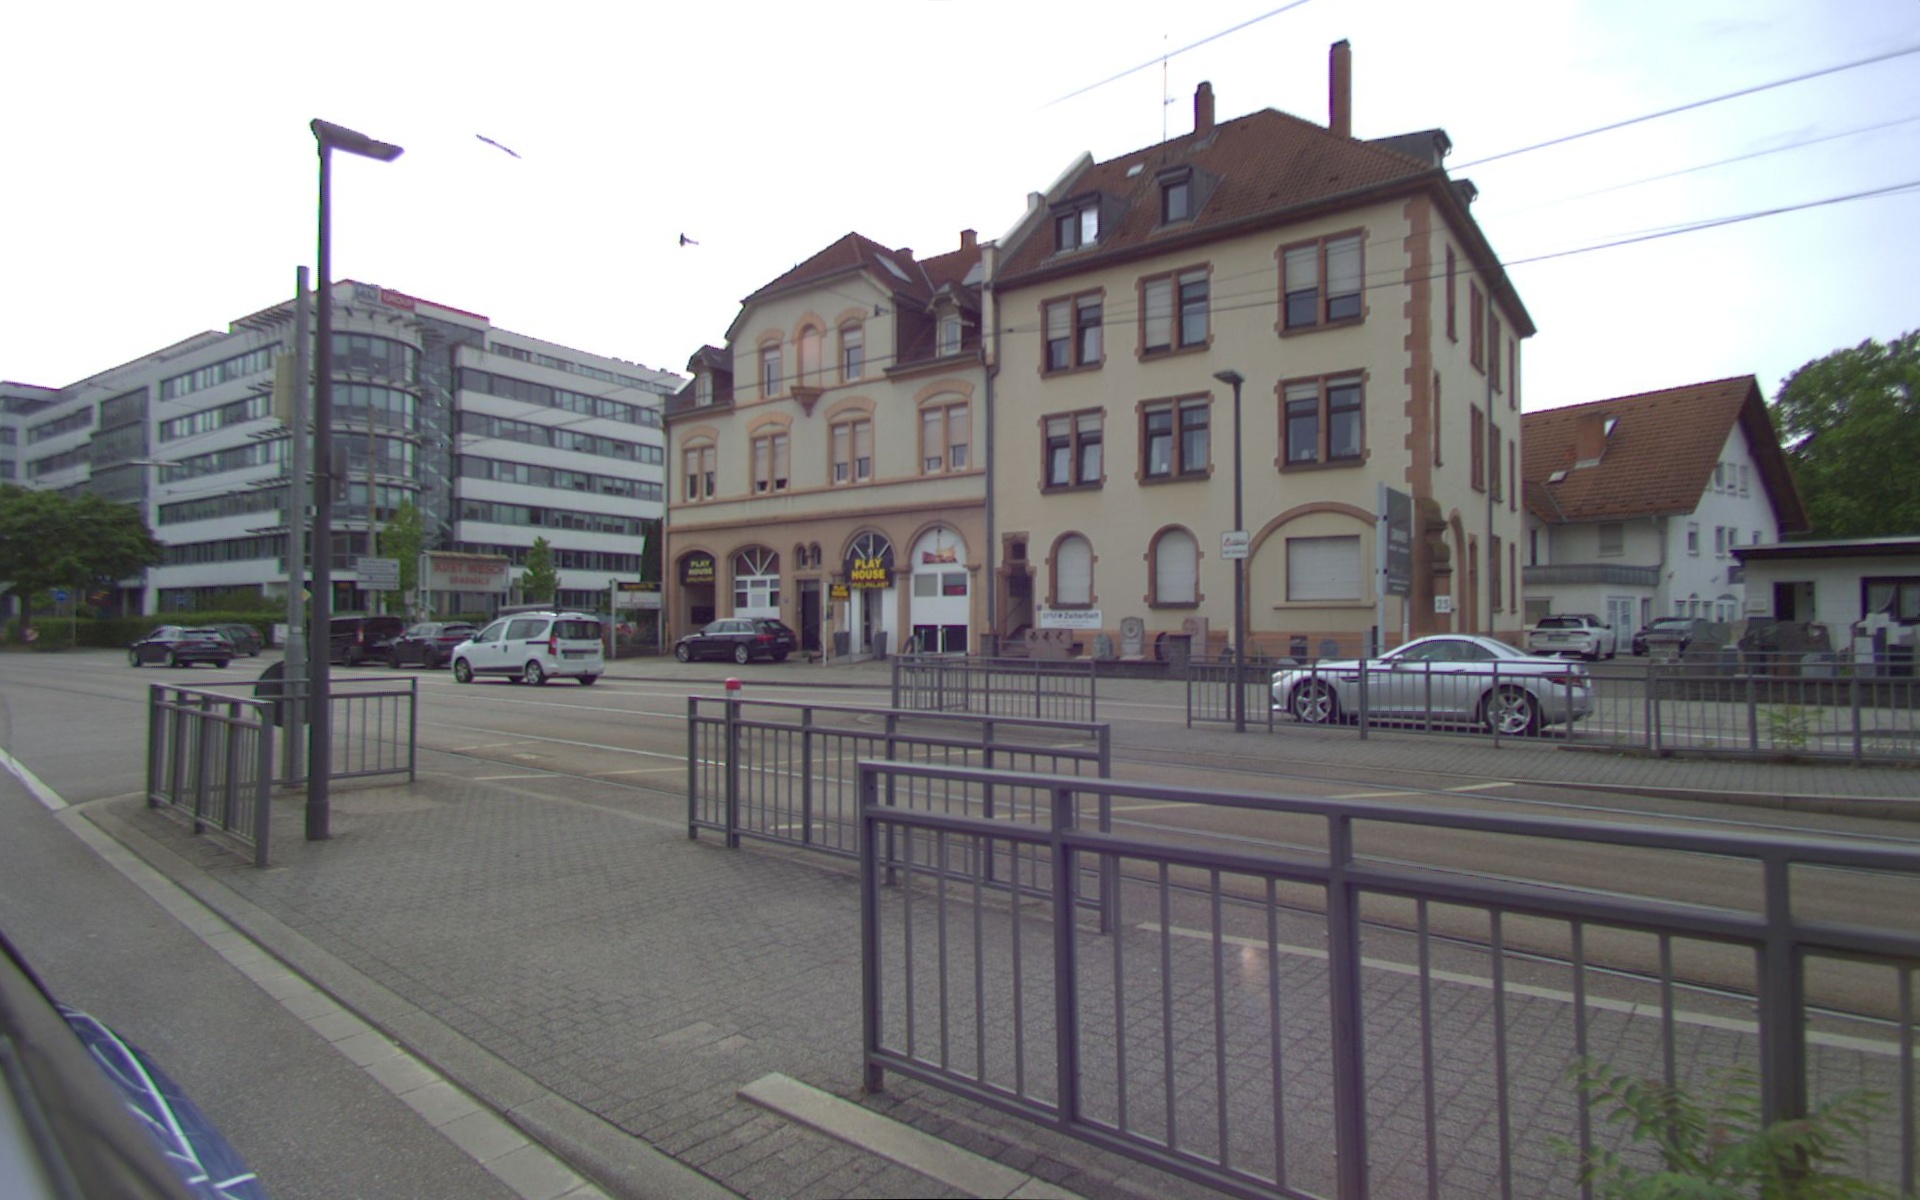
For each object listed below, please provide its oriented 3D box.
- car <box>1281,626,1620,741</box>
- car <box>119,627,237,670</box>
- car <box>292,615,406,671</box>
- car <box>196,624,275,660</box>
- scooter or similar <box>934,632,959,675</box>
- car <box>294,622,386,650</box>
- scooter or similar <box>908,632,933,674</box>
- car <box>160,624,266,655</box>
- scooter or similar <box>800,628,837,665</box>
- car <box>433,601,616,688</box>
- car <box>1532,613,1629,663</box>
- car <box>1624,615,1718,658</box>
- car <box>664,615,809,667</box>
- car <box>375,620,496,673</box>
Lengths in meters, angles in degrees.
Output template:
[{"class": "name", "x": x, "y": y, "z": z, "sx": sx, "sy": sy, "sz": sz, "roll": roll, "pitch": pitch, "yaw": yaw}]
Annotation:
[{"class": "car", "x": 6.498, "y": 1.027, "z": 13.589, "sx": 3.828, "sy": 1.308, "sz": 1.733, "roll": -1, "pitch": -2, "yaw": 38}, {"class": "car", "x": -27.554, "y": 1.682, "z": 35.644, "sx": 4.410, "sy": 1.439, "sz": 1.867, "roll": -1, "pitch": -3, "yaw": 32}, {"class": "car", "x": -24.166, "y": 1.642, "z": 39.983, "sx": 5.173, "sy": 2.029, "sz": 1.969, "roll": -1, "pitch": 0, "yaw": 36}, {"class": "car", "x": -33.066, "y": 1.935, "z": 46.336, "sx": 1.765, "sy": 1.542, "sz": 4.154, "roll": 2, "pitch": -3, "yaw": -19}, {"class": "scooter or similar", "x": -0.358, "y": 1.438, "z": 27.561, "sx": 0.521, "sy": 1.110, "sz": 1.175, "roll": 0, "pitch": -1, "yaw": 7}, {"class": "car", "x": -33.986, "y": 1.970, "z": 55.589, "sx": 1.721, "sy": 1.433, "sz": 3.973, "roll": -3, "pitch": -3, "yaw": 34}, {"class": "scooter or similar", "x": -1.078, "y": 1.446, "z": 27.904, "sx": 0.521, "sy": 1.110, "sz": 1.175, "roll": 0, "pitch": -1, "yaw": 7}, {"class": "car", "x": -36.869, "y": 1.953, "z": 50.069, "sx": 3.918, "sy": 1.462, "sz": 1.822, "roll": 1, "pitch": -2, "yaw": -25}, {"class": "scooter or similar", "x": -4.520, "y": 1.472, "z": 32.445, "sx": 0.526, "sy": 1.110, "sz": 1.165, "roll": -1, "pitch": 1, "yaw": 32}, {"class": "car", "x": -10.915, "y": 1.088, "z": 25.310, "sx": 4.507, "sy": 2.004, "sz": 1.871, "roll": -1, "pitch": -2, "yaw": 30}, {"class": "car", "x": 19.124, "y": 1.115, "z": 31.123, "sx": 3.820, "sy": 1.424, "sz": 1.694, "roll": 0, "pitch": -1, "yaw": -45}, {"class": "car", "x": 25.312, "y": 1.258, "z": 35.997, "sx": 3.589, "sy": 1.446, "sz": 1.722, "roll": 0, "pitch": -1, "yaw": -37}, {"class": "car", "x": -7.548, "y": 1.339, "z": 33.925, "sx": 4.893, "sy": 1.504, "sz": 1.976, "roll": -1, "pitch": 2, "yaw": 36}, {"class": "car", "x": -19.136, "y": 1.666, "z": 36.869, "sx": 4.523, "sy": 1.762, "sz": 2.020, "roll": -2, "pitch": 0, "yaw": 34}]
